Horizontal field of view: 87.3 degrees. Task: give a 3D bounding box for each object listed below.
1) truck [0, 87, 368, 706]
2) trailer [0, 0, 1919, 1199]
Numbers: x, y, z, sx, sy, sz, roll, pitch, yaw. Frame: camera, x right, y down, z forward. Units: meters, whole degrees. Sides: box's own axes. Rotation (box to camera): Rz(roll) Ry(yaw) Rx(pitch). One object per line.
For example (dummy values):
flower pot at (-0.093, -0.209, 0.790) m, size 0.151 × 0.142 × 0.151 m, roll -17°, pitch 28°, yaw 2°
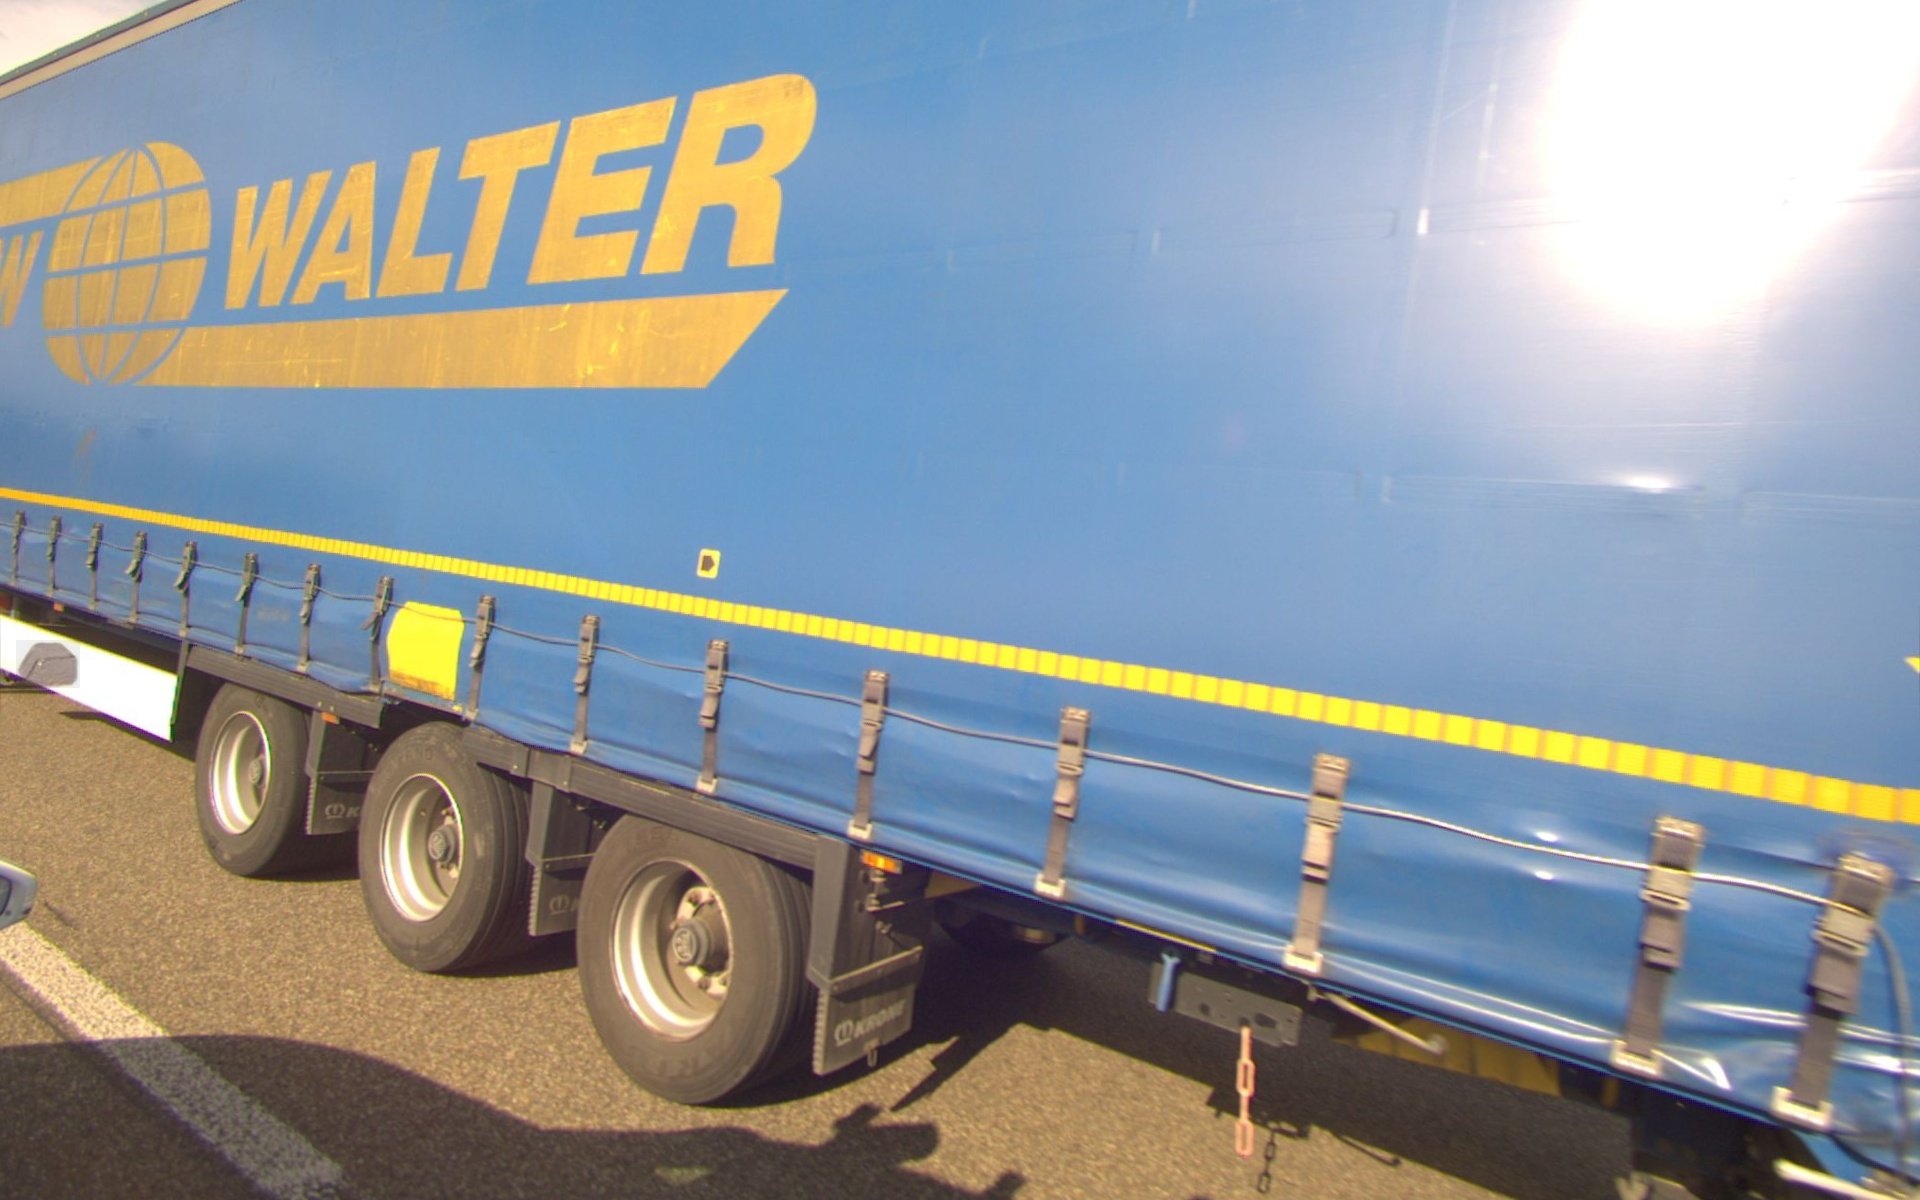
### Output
truck at (-8.825, -1.563, 9.339) m, size 6.384 × 4.136 × 2.653 m, roll 6°, pitch -2°, yaw 31°
trailer at (-3.312, -0.944, 5.923) m, size 13.748 × 4.145 × 2.647 m, roll 6°, pitch -2°, yaw 32°
